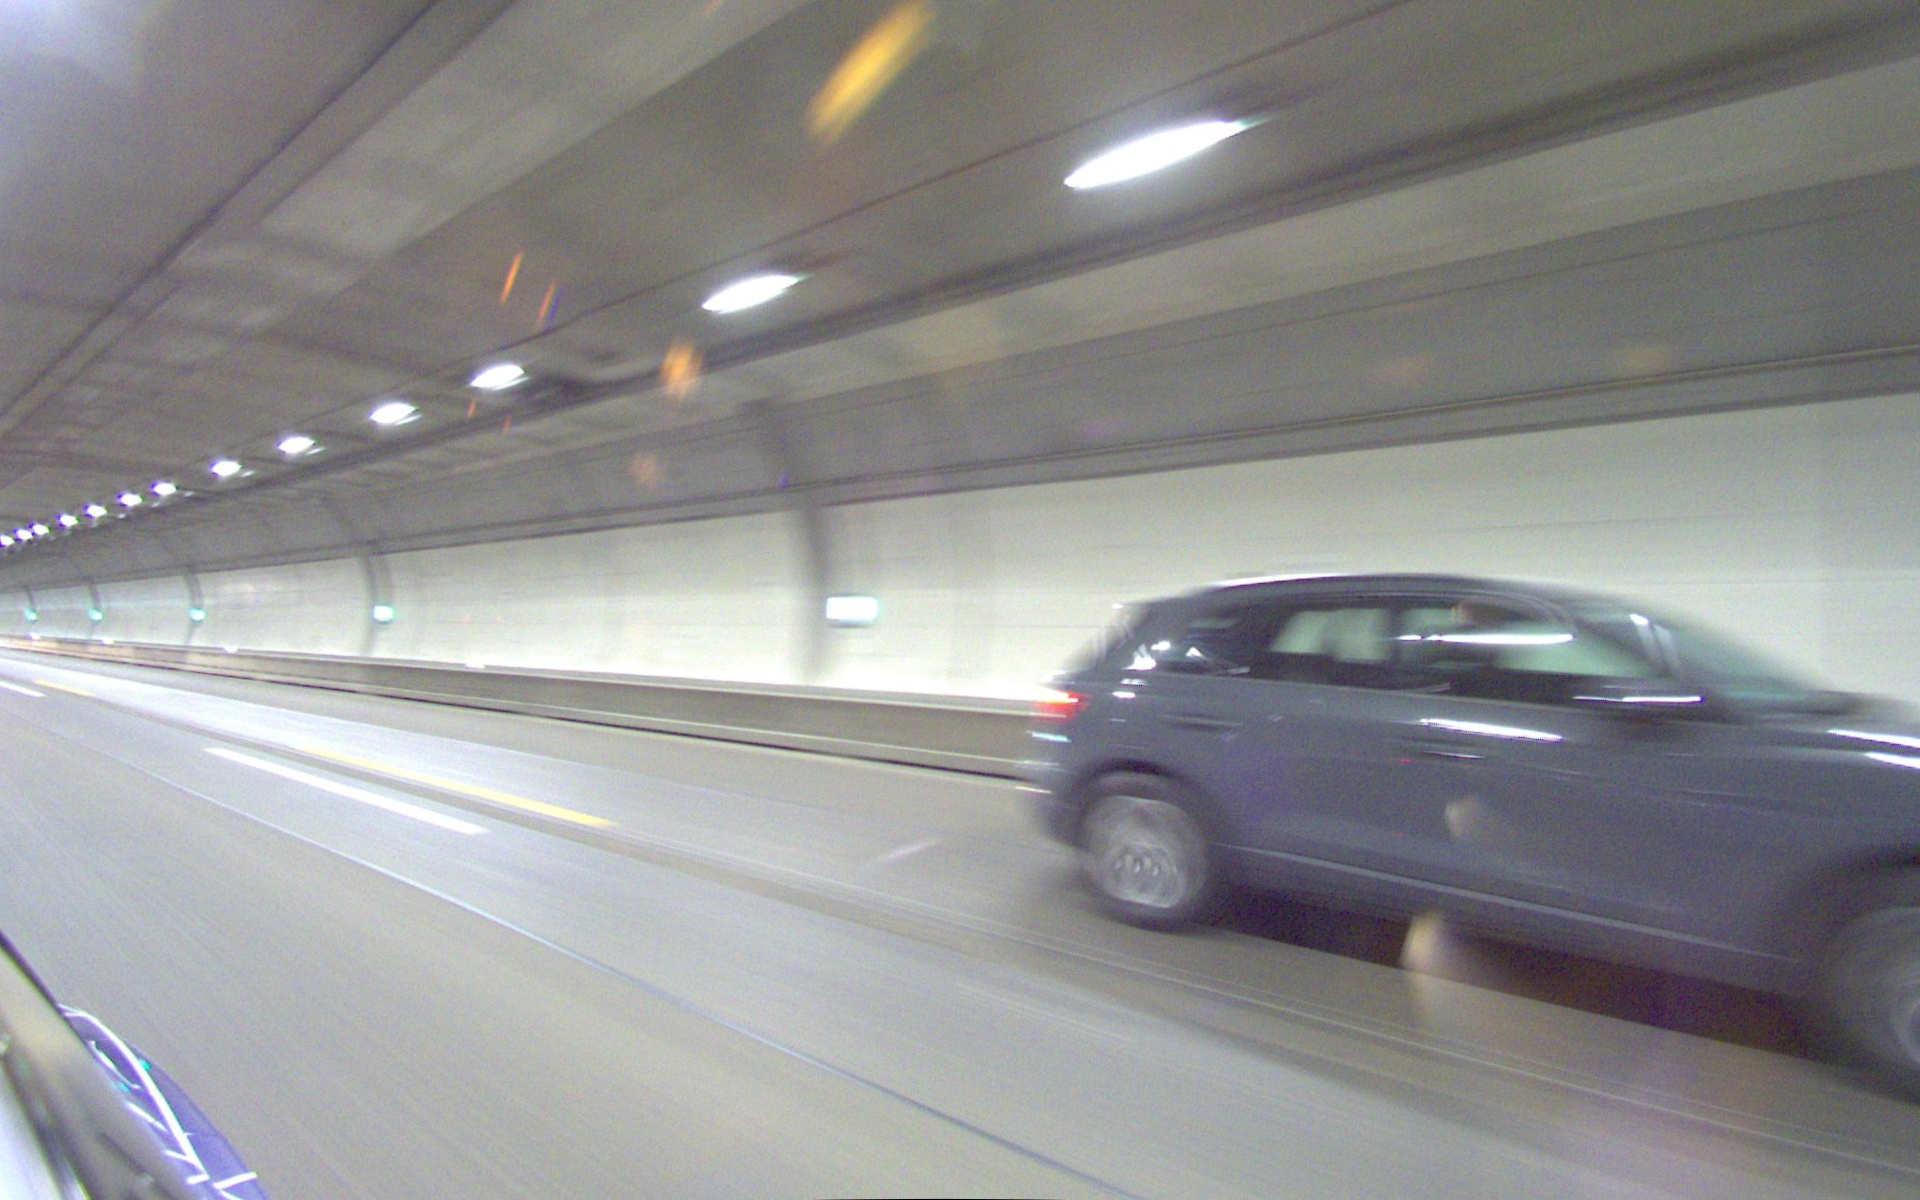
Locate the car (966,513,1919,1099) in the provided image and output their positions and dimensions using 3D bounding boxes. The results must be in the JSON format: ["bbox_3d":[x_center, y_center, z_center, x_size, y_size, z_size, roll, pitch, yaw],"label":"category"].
[{"bbox_3d":[2.456,0.551,4.067,4.740,1.552,1.973,-1,0,41],"label":"car"}]
